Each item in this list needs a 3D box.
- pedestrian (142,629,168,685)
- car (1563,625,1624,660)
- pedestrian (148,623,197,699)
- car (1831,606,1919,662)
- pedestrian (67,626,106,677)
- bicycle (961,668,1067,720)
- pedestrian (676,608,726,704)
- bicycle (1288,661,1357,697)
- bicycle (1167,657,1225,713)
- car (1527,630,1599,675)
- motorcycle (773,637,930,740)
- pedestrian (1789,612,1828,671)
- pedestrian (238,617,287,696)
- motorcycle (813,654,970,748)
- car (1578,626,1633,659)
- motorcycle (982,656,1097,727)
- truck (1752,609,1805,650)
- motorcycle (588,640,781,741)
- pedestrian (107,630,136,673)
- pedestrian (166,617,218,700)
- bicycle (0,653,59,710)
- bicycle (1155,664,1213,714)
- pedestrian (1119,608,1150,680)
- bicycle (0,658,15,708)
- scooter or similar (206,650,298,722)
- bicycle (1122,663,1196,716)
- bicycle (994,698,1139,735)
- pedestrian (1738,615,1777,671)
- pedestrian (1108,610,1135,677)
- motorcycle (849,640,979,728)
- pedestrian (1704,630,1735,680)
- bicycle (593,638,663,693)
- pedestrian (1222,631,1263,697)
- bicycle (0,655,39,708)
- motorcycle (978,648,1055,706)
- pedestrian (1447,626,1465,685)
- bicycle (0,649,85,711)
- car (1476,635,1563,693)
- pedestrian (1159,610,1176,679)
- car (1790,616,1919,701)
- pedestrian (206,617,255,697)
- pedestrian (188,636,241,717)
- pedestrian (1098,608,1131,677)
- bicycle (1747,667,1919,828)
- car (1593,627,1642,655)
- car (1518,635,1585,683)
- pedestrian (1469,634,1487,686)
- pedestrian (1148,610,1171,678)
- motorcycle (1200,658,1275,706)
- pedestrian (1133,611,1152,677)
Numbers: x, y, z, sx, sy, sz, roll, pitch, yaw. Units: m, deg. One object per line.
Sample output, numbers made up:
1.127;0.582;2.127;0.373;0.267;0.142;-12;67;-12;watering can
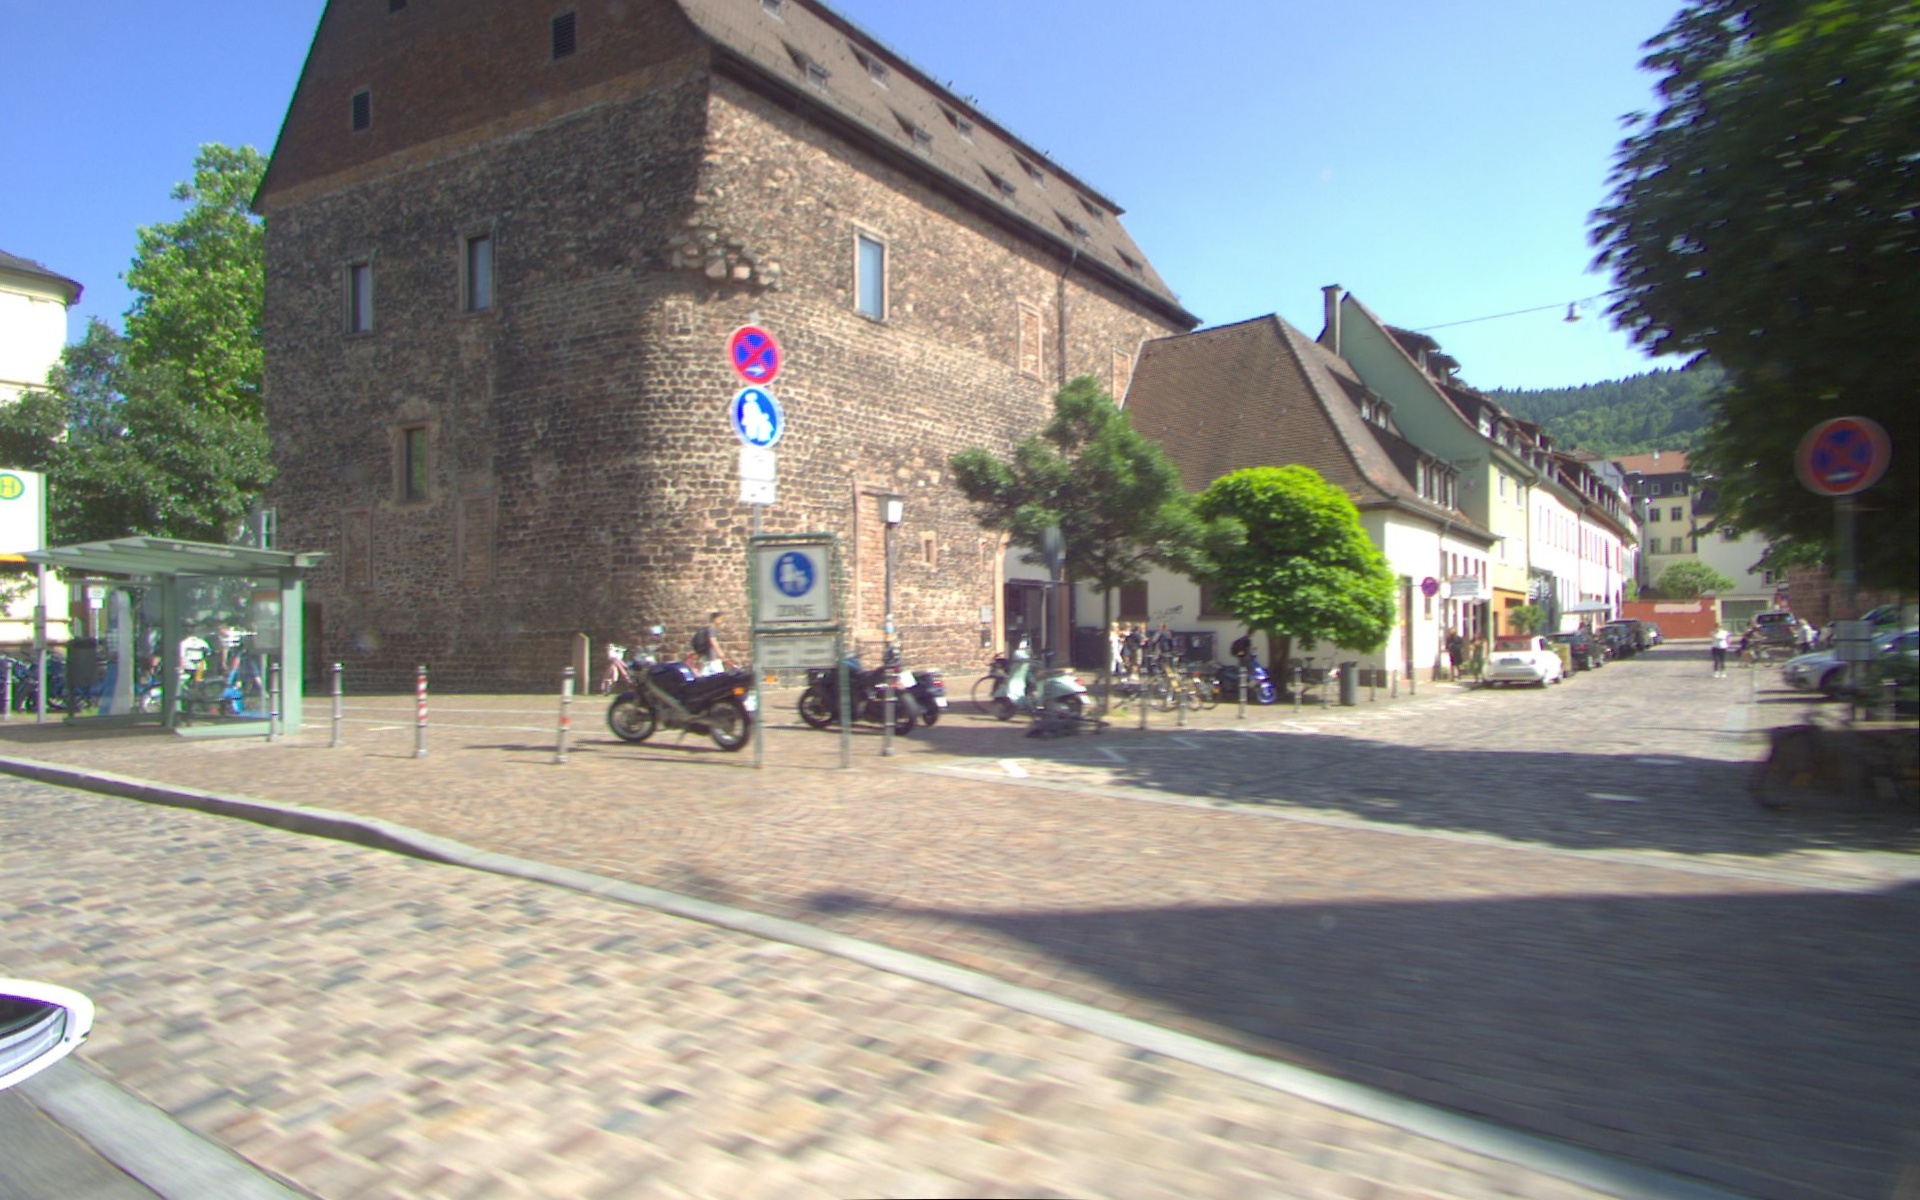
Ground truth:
-24.351;1.729;30.299;0.460;1.701;0.448;-2;-4;36;pedestrian
28.213;1.925;44.541;1.975;1.430;3.977;-2;-5;36;car
-19.139;1.478;24.342;0.835;1.824;0.651;-1;-2;32;pedestrian
36.789;1.344;39.030;3.945;2.100;1.991;-2;-4;33;car
-35.498;2.112;40.711;0.796;2.038;0.943;-2;-4;33;pedestrian
0.929;1.631;17.526;1.898;0.830;0.353;-1;-3;32;bicycle
-5.441;1.159;21.075;0.898;1.973;0.829;0;-1;-5;pedestrian
9.127;1.983;25.227;1.566;0.889;0.419;-2;-4;32;bicycle
4.819;1.729;20.517;0.355;1.098;1.377;2;-3;-26;bicycle
22.978;1.969;38.099;1.974;1.610;3.976;-2;-3;36;car
-1.483;1.164;13.448;2.169;1.282;0.654;-2;-3;33;motorcycle
29.619;1.465;34.949;0.867;2.038;0.739;-2;-4;32;pedestrian
-18.328;1.488;26.317;0.866;2.038;0.729;-2;-4;33;pedestrian
-1.004;1.410;14.314;2.280;1.250;0.674;-2;-4;33;motorcycle
31.101;2.081;48.213;1.975;1.430;3.977;-2;-5;36;car
1.263;1.459;16.105;1.814;1.086;0.506;-2;-4;33;motorcycle
44.062;1.642;53.876;1.978;1.993;3.970;-3;-5;42;truck
-3.100;0.955;11.114;2.454;1.025;0.565;-1;-2;32;motorcycle
-40.433;2.476;48.307;0.728;2.038;0.838;-2;-4;33;pedestrian
-18.038;1.376;23.529;0.809;1.906;0.668;-2;-4;32;pedestrian
-18.333;1.590;19.545;0.175;1.083;1.162;0;-4;14;bicycle
4.455;1.769;19.993;0.355;0.961;1.377;2;-4;-26;bicycle
5.078;1.290;29.151;0.759;2.038;0.692;-1;-3;20;pedestrian
-19.681;1.664;20.030;0.175;1.028;1.188;0;-4;14;bicycle
-10.910;1.322;15.462;0.318;1.078;1.088;-2;-4;31;scooter or similar
3.827;1.717;19.336;1.362;0.978;0.359;-2;-4;32;bicycle
1.443;1.537;13.380;1.916;0.385;0.909;3;-5;-43;bicycle
29.659;1.610;37.250;1.011;2.038;0.973;-2;-4;35;pedestrian
4.978;1.349;30.926;0.556;2.038;0.648;2;-4;-29;pedestrian
-0.710;1.245;15.016;2.003;1.250;0.545;-2;-4;33;motorcycle
24.690;1.790;32.557;0.711;1.606;0.722;-2;-1;35;pedestrian
-7.627;1.510;22.972;1.691;1.224;0.389;-1;-4;25;bicycle
7.396;1.665;26.226;0.799;1.683;0.652;0;-1;-33;pedestrian
-19.041;1.620;19.854;0.175;1.047;1.206;0;-4;14;bicycle
1.125;1.500;19.506;0.474;1.066;1.858;-2;-5;40;motorcycle
15.532;1.745;31.358;0.464;1.829;0.532;0;-2;34;pedestrian
-17.664;1.536;19.279;0.175;1.141;1.308;0;-4;14;bicycle
16.772;1.866;29.932;1.814;1.591;3.824;-2;-3;36;car
6.198;1.334;29.961;0.435;2.038;0.620;-1;-3;17;pedestrian
21.449;1.340;22.685;3.952;1.842;1.723;-3;-5;38;car
-18.068;1.426;24.820;0.809;1.943;0.668;-2;-4;32;pedestrian
-13.271;1.356;17.835;0.580;1.402;0.556;-2;-4;35;pedestrian
4.635;1.296;30.016;0.787;2.038;0.735;1;-3;-8;pedestrian
7.242;1.134;7.809;1.708;1.177;0.445;-1;-2;36;bicycle
35.113;2.187;53.408;1.974;1.431;3.975;-1;-2;36;car
19.662;1.916;33.241;1.474;1.473;3.138;-2;-2;39;car
16.053;1.845;31.009;0.435;1.602;0.458;-1;0;34;pedestrian
6.107;1.358;30.676;0.520;2.038;0.439;-3;-4;45;pedestrian
6.252;1.837;22.597;1.588;1.047;0.387;-2;-4;26;motorcycle
5.643;1.365;31.014;0.499;2.038;0.442;-1;-3;21;pedestrian
